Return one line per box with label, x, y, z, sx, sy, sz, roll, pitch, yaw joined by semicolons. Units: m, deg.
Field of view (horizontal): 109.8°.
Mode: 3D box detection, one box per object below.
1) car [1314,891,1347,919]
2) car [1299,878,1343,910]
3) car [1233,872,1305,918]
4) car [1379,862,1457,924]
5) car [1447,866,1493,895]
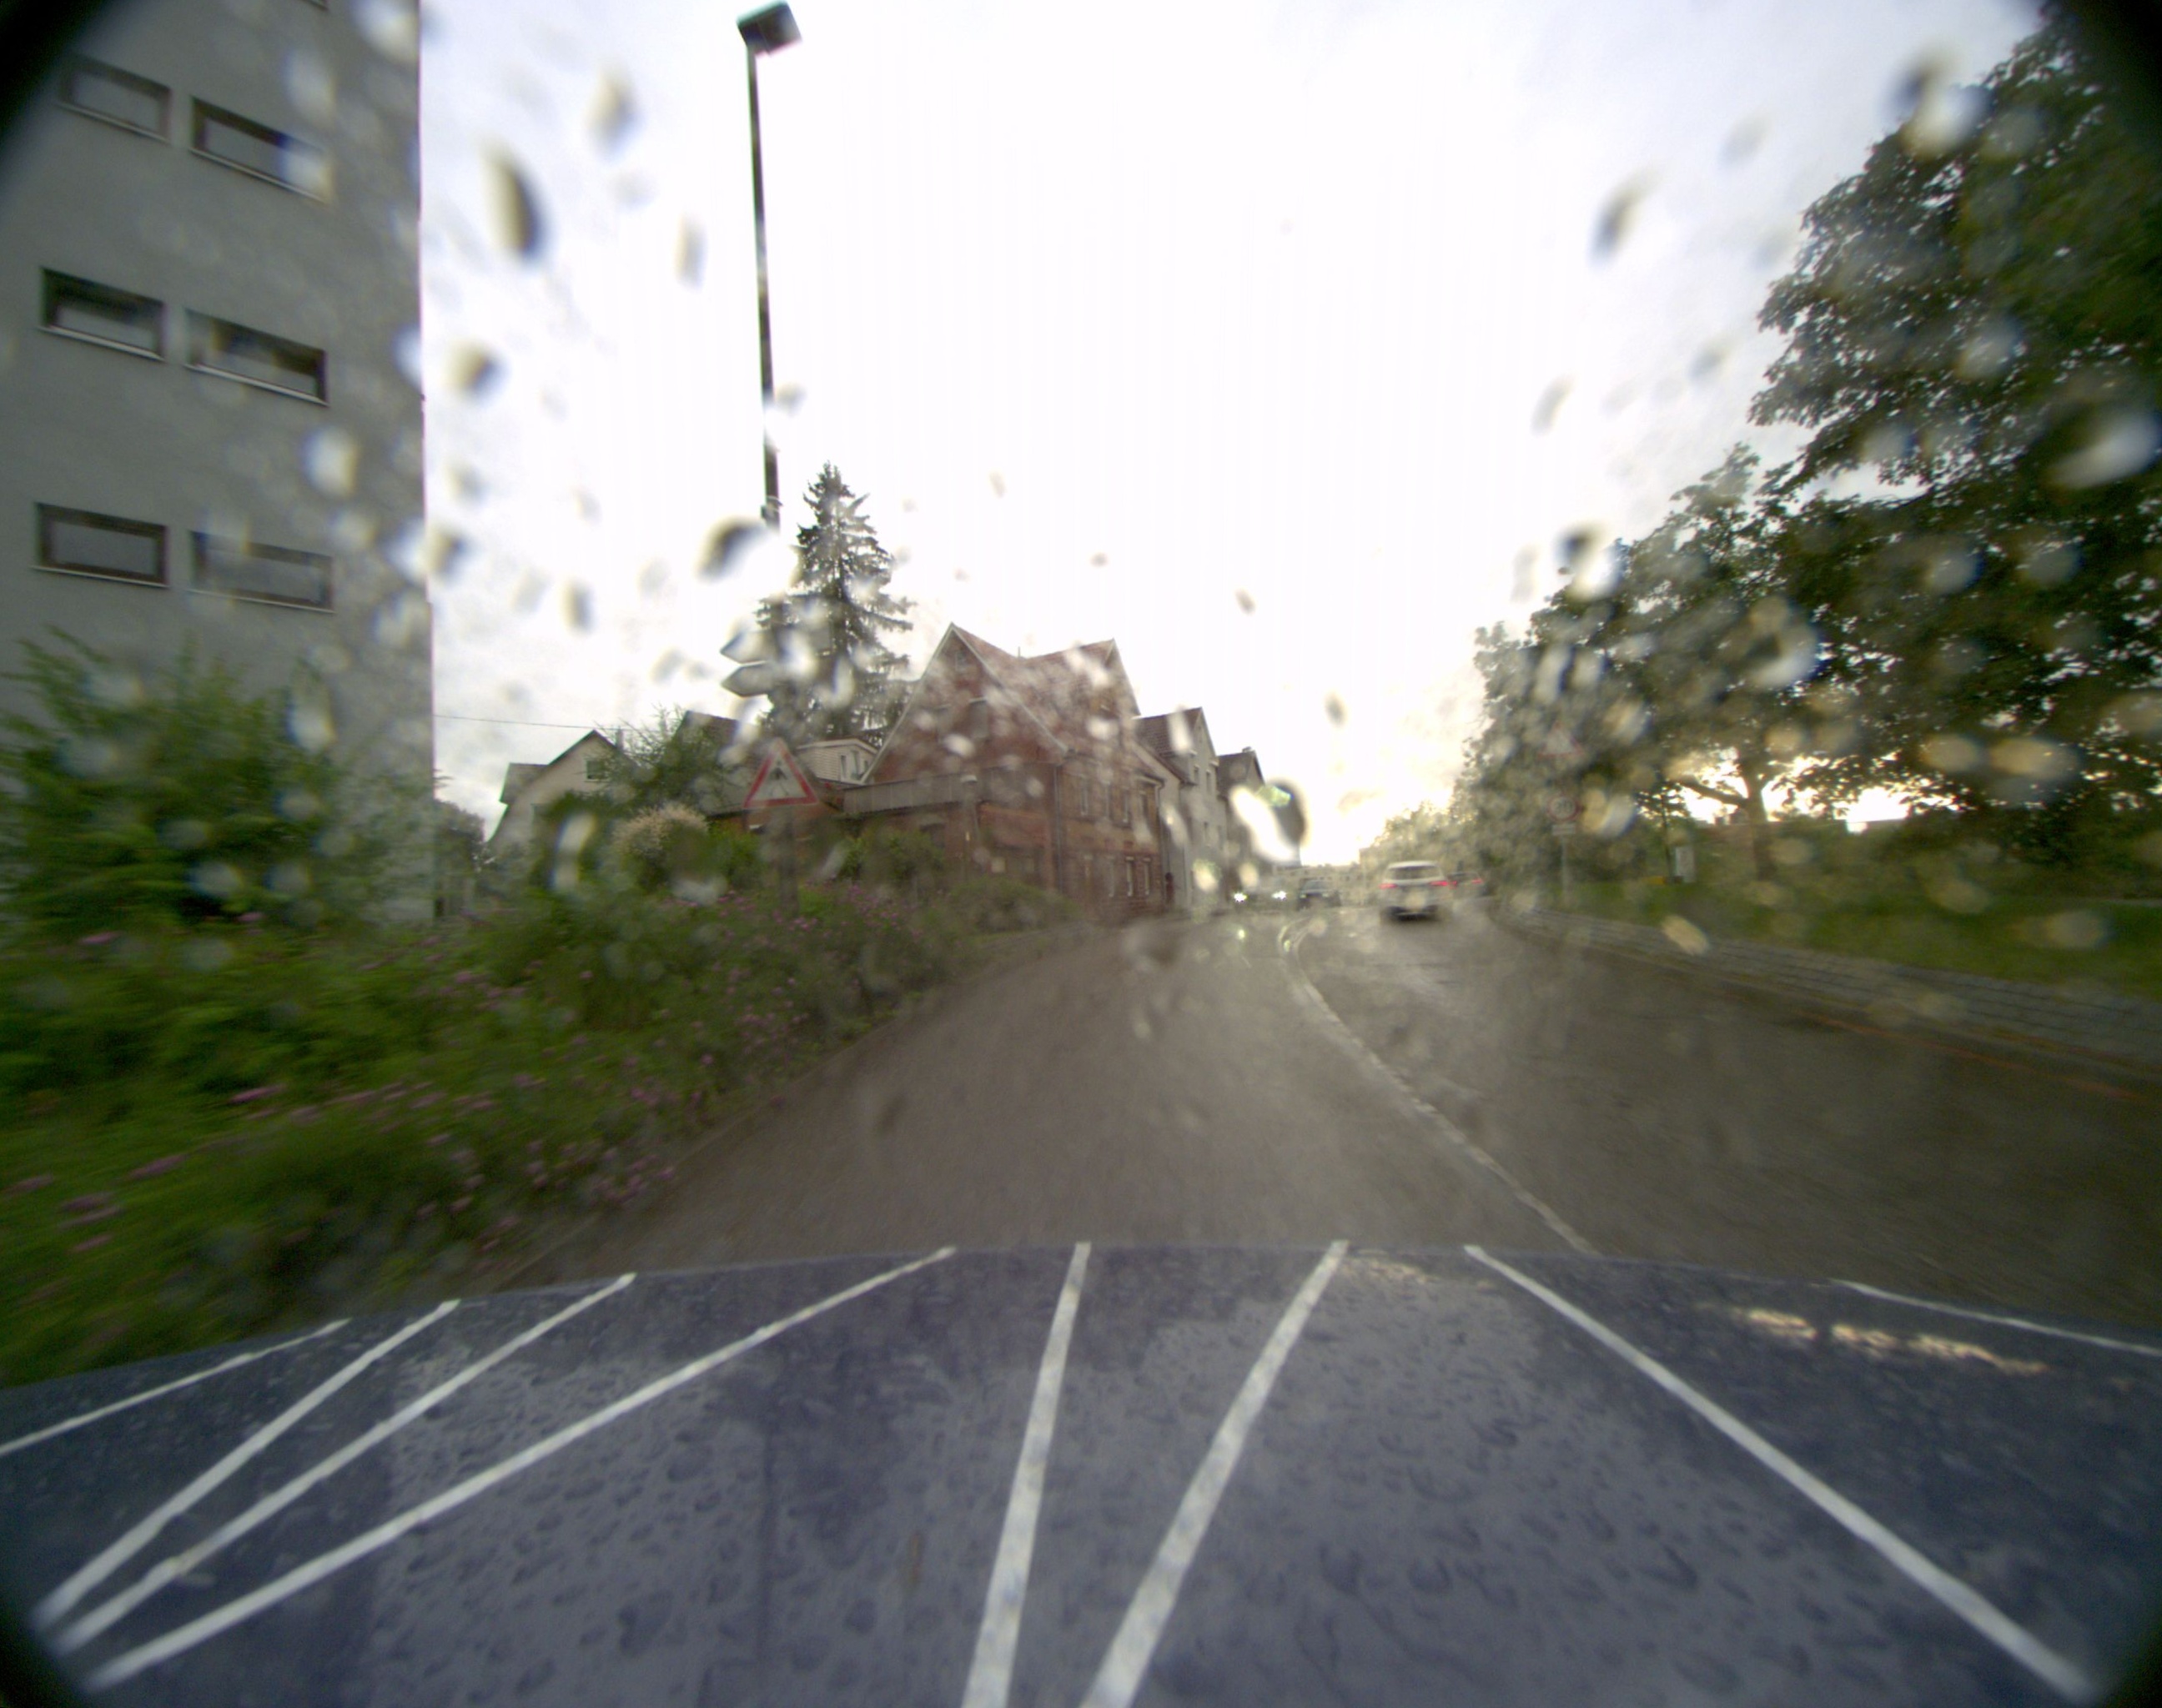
car;17.069;3.506;51.862;1.898;1.647;4.956;-5;-7;19
car;12.061;2.051;38.069;1.788;1.338;4.956;-5;-6;19
car;7.383;1.586;29.511;1.836;1.504;4.858;-6;-5;22
car;9.208;1.009;20.945;1.725;1.495;4.265;-3;-2;22
car;20.960;1.413;40.854;1.737;1.402;4.063;-4;-2;33
